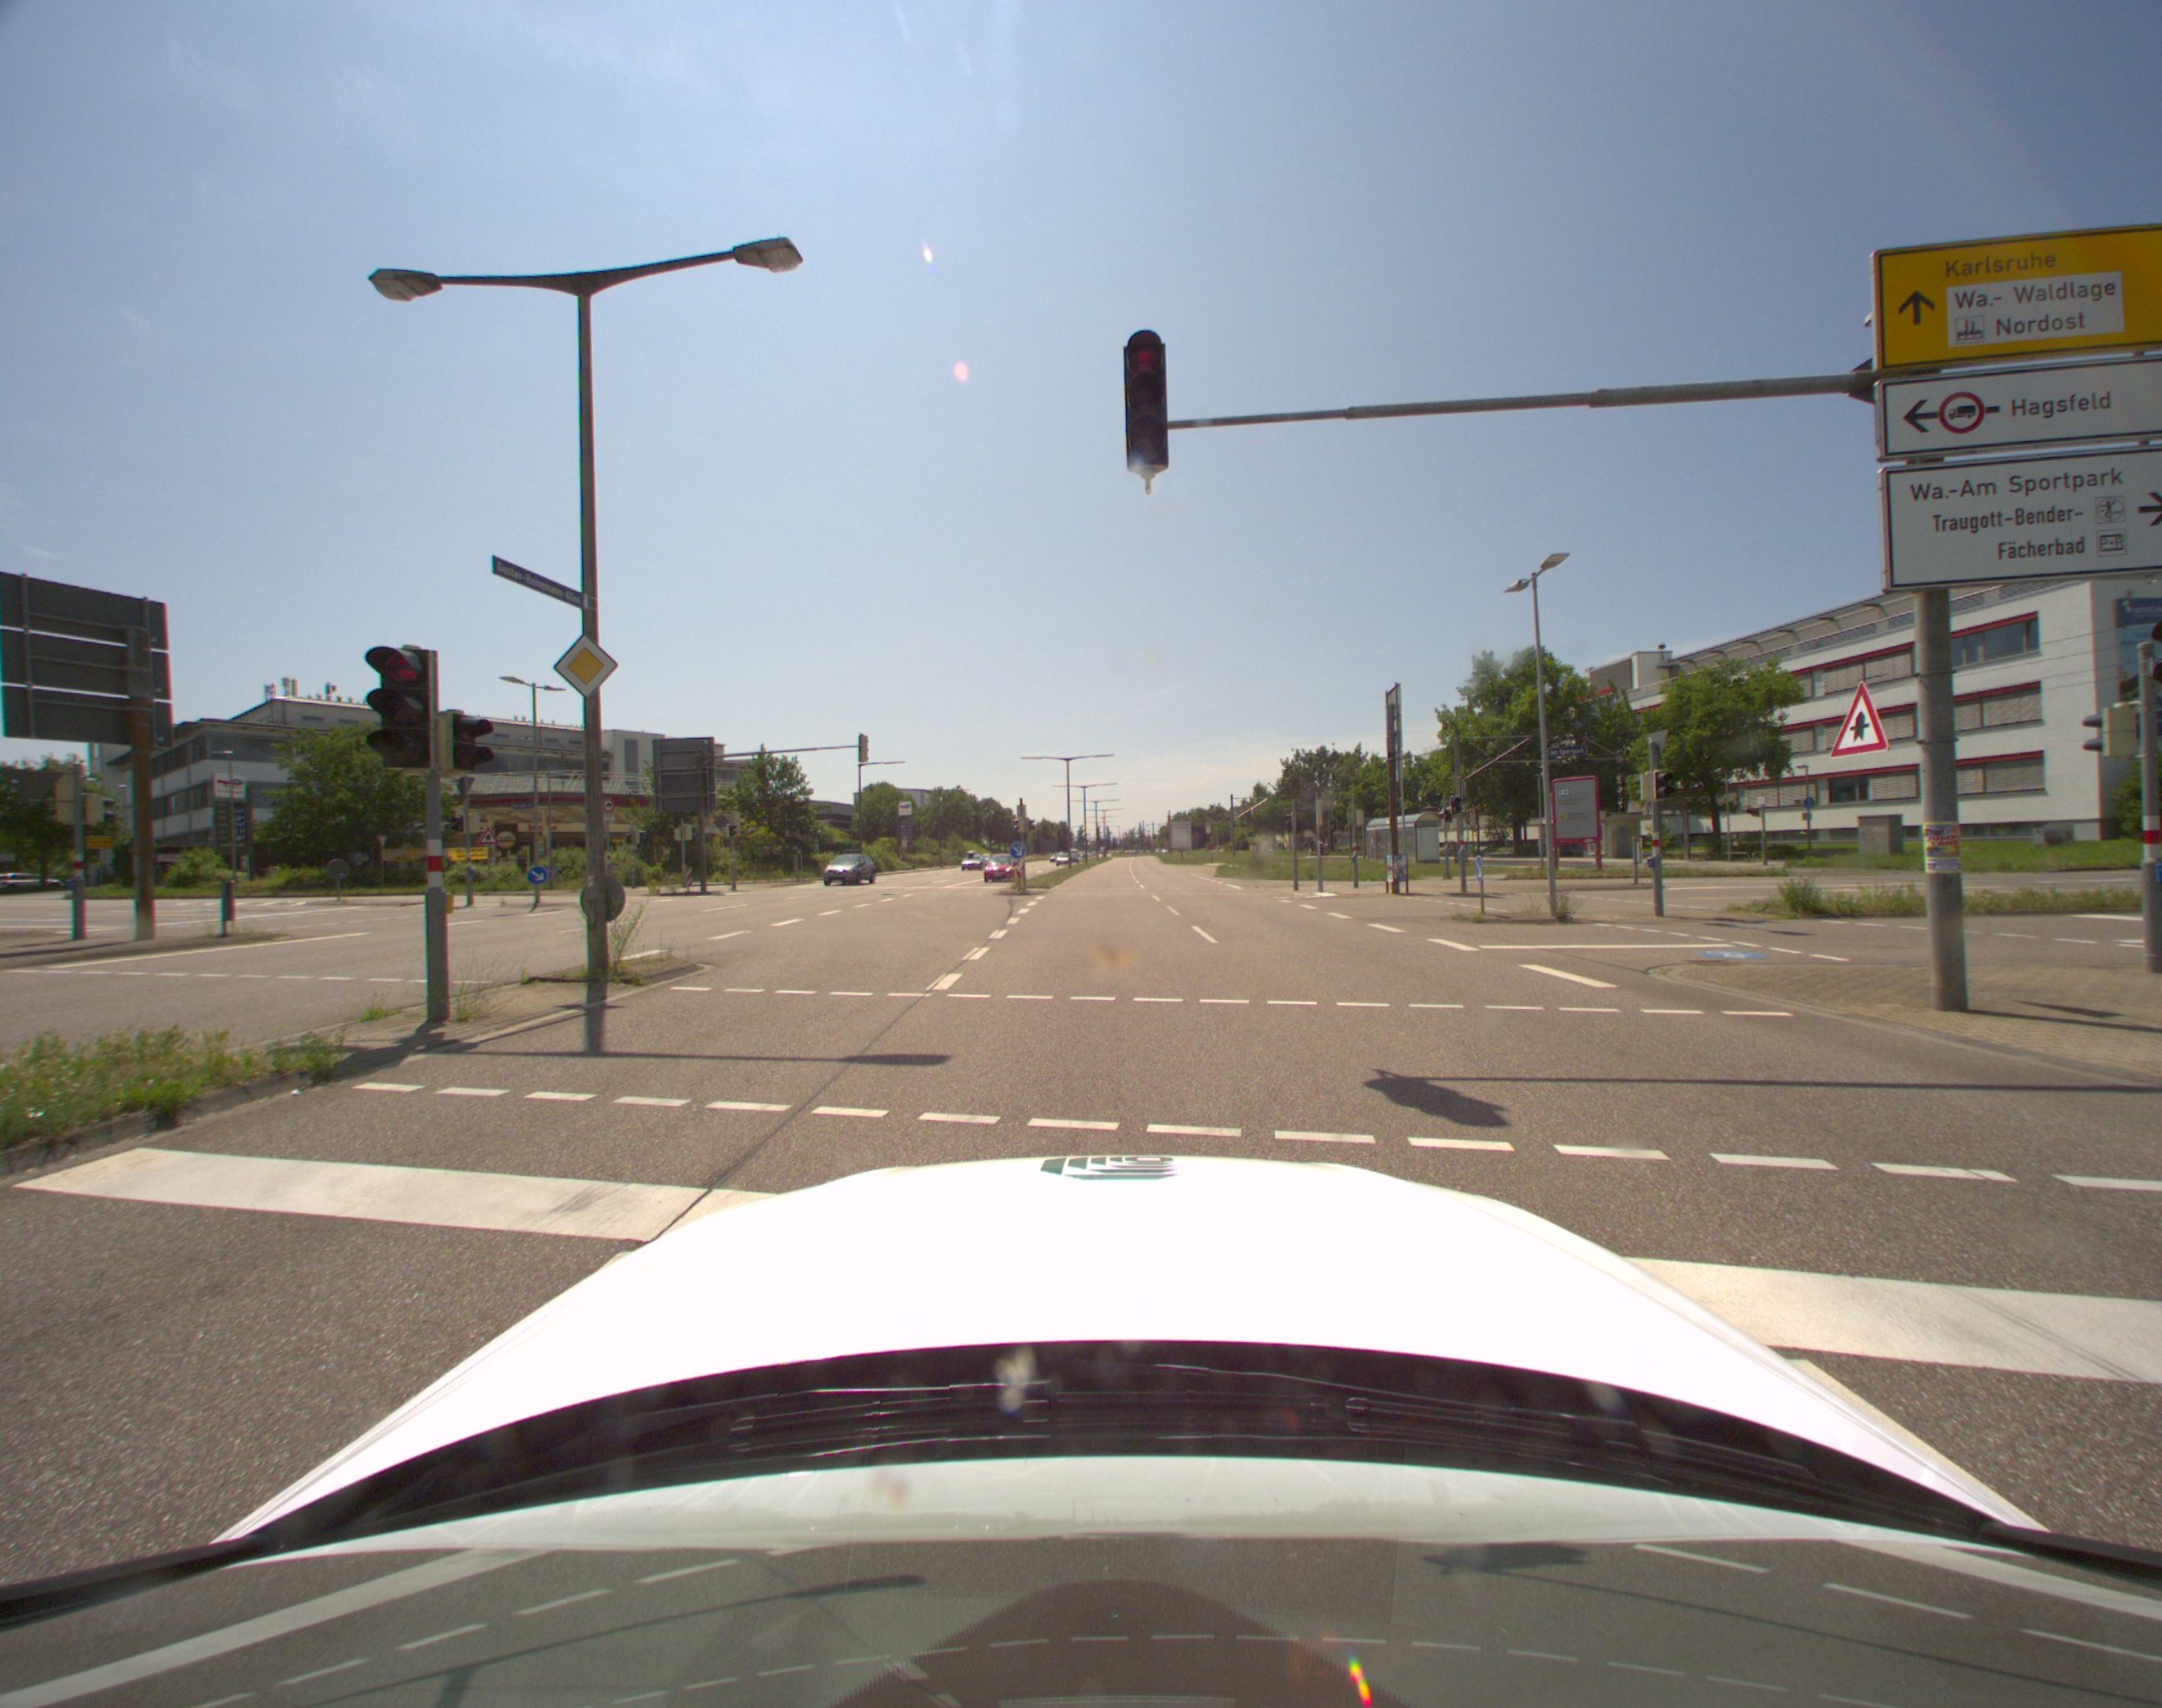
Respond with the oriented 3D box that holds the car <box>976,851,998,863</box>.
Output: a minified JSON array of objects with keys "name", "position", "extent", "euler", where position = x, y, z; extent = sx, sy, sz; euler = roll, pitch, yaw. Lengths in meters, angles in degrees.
[{"name":"car","position":[-11.173,0.344,97.068],"extent":[1.813,1.449,3.834],"euler":[-1,0,6]}]

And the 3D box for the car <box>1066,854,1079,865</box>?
[{"name":"car","position":[-1.121,0.708,111.763],"extent":[1.669,1.434,4.192],"euler":[-1,0,2]}]

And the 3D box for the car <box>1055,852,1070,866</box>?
[{"name":"car","position":[-2.092,0.563,93.437],"extent":[1.555,1.423,3.855],"euler":[-1,1,1]}]

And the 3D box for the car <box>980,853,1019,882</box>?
[{"name":"car","position":[-4.464,0.698,45.056],"extent":[1.652,1.490,4.001],"euler":[-2,0,1]}]

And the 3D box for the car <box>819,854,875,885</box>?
[{"name":"car","position":[-12.010,0.761,42.047],"extent":[1.652,1.539,4.001],"euler":[0,0,1]}]

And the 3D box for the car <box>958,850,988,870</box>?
[{"name":"car","position":[-10.082,0.522,76.253],"extent":[1.958,1.750,5.023],"euler":[-2,0,1]}]

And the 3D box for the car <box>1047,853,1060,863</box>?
[{"name":"car","position":[-4.215,0.621,125.711],"extent":[1.631,1.429,4.054],"euler":[-2,0,2]}]

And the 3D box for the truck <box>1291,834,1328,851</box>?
[{"name":"truck","position":[41.215,-2.068,146.804],"extent":[5.831,2.843,2.316],"euler":[-3,0,-5]}]
